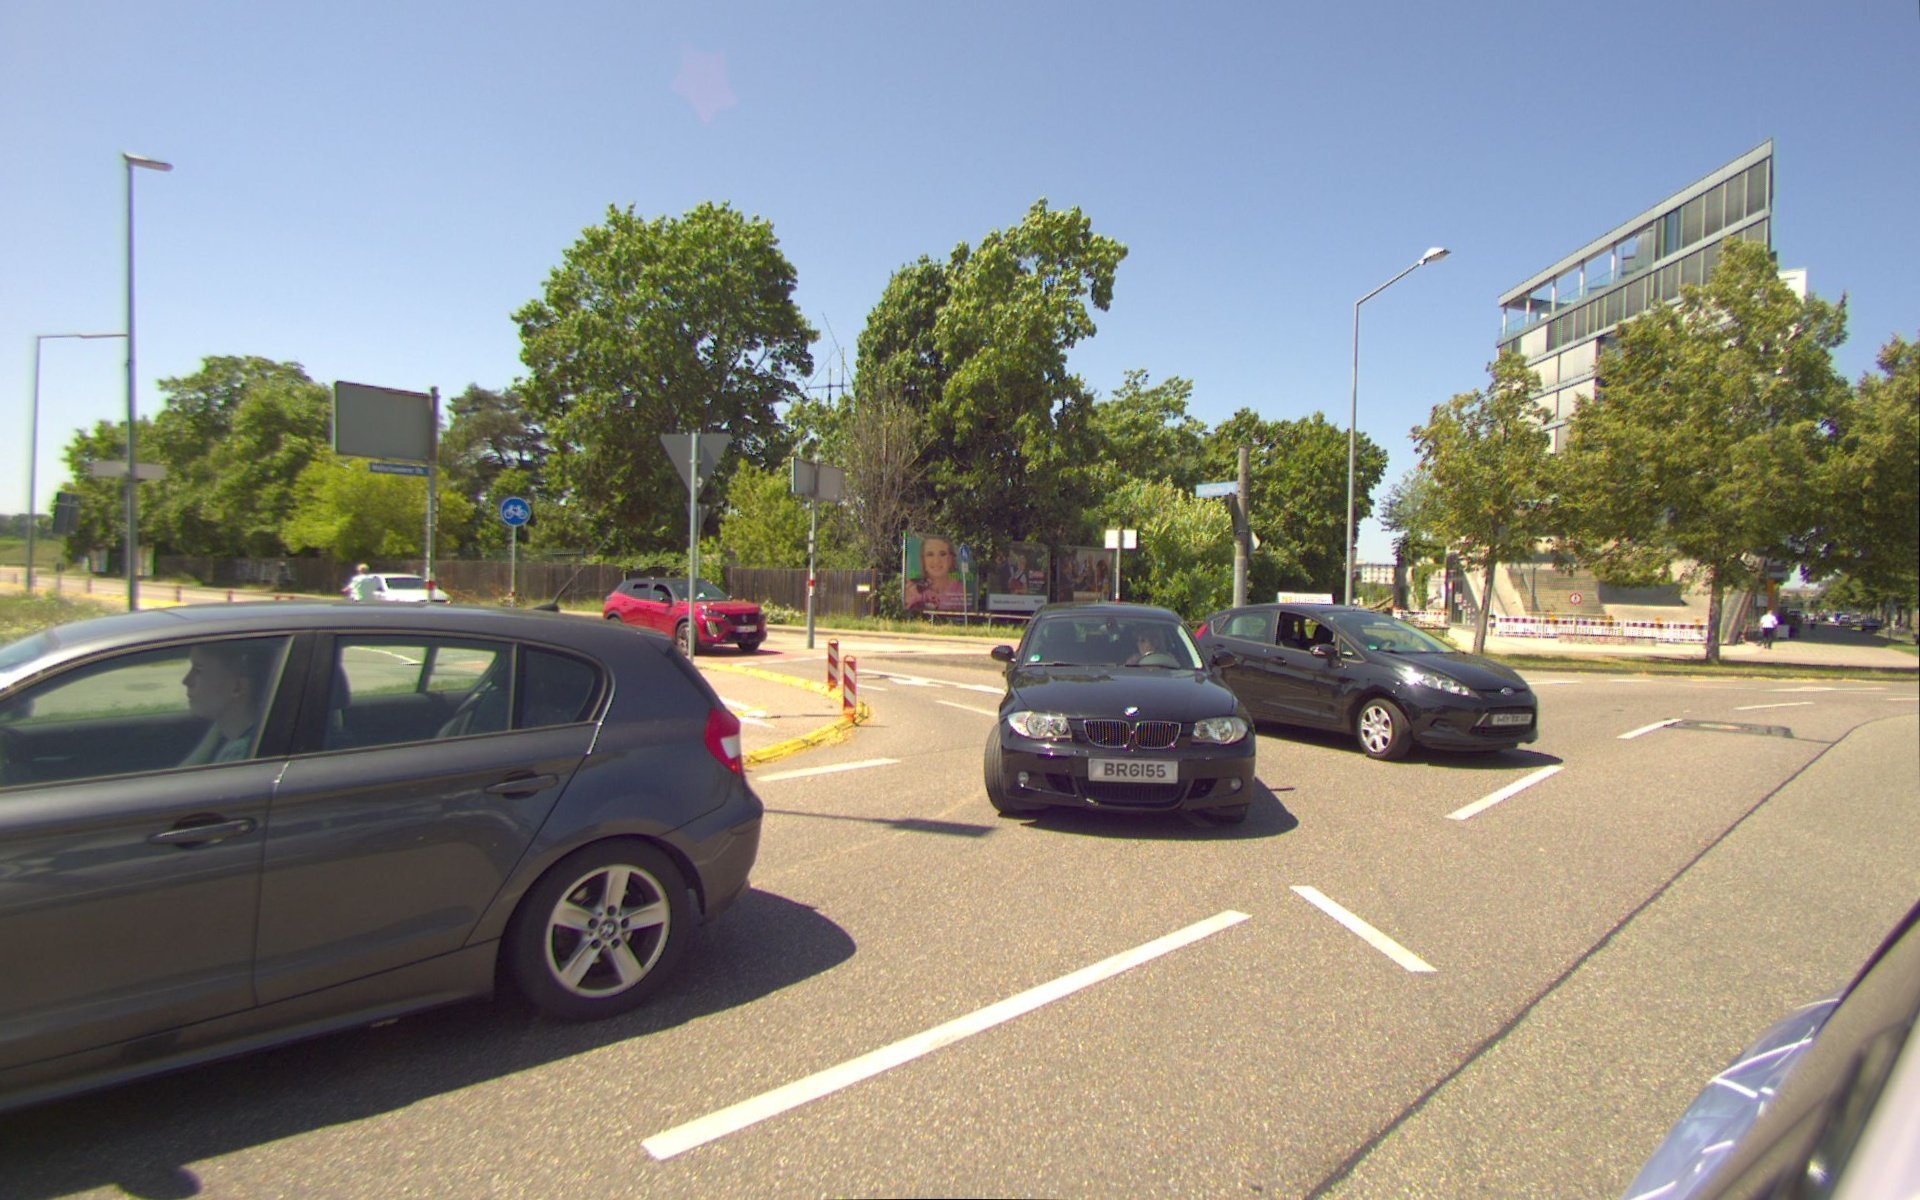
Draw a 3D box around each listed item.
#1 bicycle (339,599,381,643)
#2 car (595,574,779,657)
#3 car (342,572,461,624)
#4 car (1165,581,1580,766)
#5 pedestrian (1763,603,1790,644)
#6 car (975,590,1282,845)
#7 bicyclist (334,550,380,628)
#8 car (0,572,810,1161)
[{"bbox_3d":[-13.307,0.447,22.478,0.616,0.890,1.880,1,1,-25],"label":"bicycle"},{"bbox_3d":[-5.868,0.255,21.542,4.192,1.546,1.697,2,2,40],"label":"car"},{"bbox_3d":[-17.069,-0.120,30.871,3.980,1.446,1.838,2,2,39],"label":"car"},{"bbox_3d":[4.040,0.594,10.546,1.601,1.527,3.824,1,1,-29],"label":"car"},{"bbox_3d":[38.773,1.112,48.065,0.600,1.892,0.835,0,2,-37],"label":"pedestrian"},{"bbox_3d":[1.187,0.664,7.952,1.772,1.458,3.993,1,0,6],"label":"car"},{"bbox_3d":[-13.349,-0.245,22.431,0.733,1.661,1.165,2,0,-25],"label":"bicyclist"},{"bbox_3d":[-2.677,0.633,3.269,4.007,1.421,1.751,1,0,-39],"label":"car"}]
